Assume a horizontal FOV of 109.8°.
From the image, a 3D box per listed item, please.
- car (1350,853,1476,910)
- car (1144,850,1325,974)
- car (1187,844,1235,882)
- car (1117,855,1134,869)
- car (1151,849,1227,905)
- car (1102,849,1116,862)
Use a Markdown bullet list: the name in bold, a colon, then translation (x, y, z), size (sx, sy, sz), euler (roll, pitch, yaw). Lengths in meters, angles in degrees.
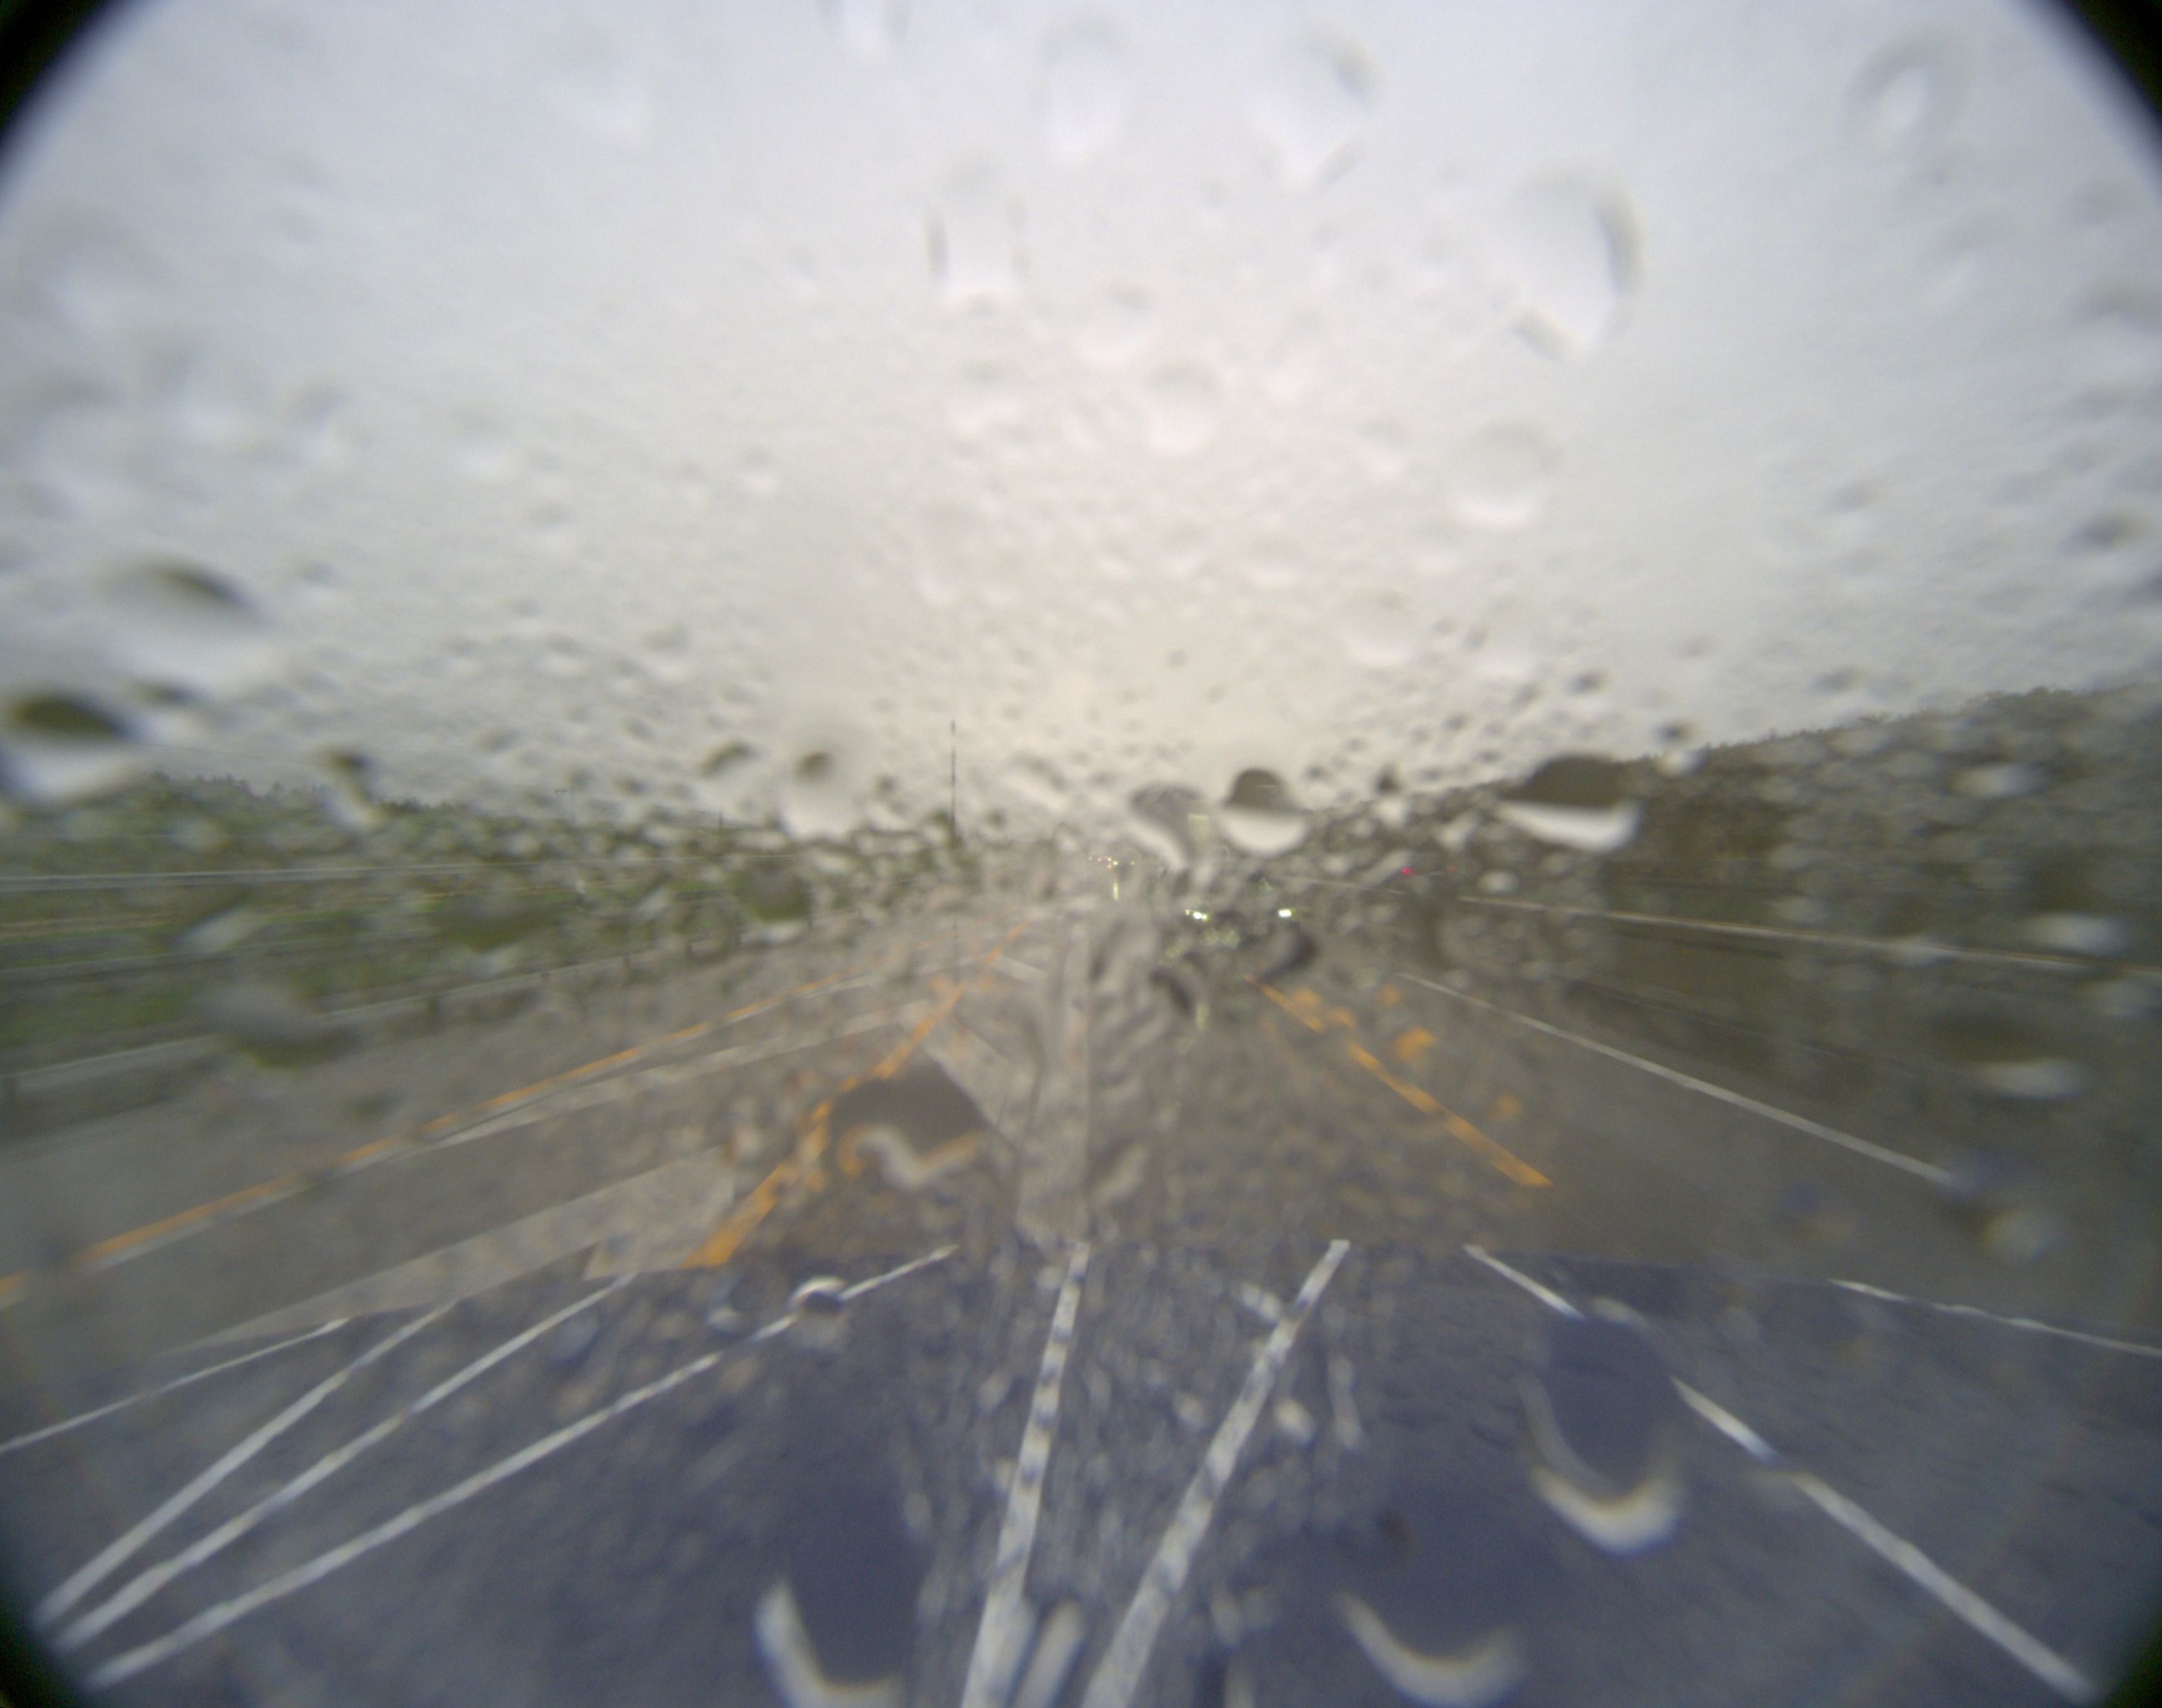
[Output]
- **car**: translation (9.830, 0.732, 22.925), size (1.765, 1.452, 4.696), euler (-2, 1, 1)
- **car**: translation (2.151, 0.725, 12.077), size (1.944, 1.519, 4.795), euler (0, 1, 0)
- **car**: translation (7.273, 0.450, 42.965), size (1.949, 1.958, 4.935), euler (-1, 1, 2)
- **car**: translation (3.812, 0.711, 65.926), size (1.335, 1.105, 3.199), euler (1, -1, 1)
- **car**: translation (3.508, 0.686, 25.363), size (1.971, 1.670, 3.999), euler (0, 1, 0)
- **car**: translation (4.154, 0.242, 113.651), size (1.998, 1.761, 4.000), euler (-2, 1, 1)
